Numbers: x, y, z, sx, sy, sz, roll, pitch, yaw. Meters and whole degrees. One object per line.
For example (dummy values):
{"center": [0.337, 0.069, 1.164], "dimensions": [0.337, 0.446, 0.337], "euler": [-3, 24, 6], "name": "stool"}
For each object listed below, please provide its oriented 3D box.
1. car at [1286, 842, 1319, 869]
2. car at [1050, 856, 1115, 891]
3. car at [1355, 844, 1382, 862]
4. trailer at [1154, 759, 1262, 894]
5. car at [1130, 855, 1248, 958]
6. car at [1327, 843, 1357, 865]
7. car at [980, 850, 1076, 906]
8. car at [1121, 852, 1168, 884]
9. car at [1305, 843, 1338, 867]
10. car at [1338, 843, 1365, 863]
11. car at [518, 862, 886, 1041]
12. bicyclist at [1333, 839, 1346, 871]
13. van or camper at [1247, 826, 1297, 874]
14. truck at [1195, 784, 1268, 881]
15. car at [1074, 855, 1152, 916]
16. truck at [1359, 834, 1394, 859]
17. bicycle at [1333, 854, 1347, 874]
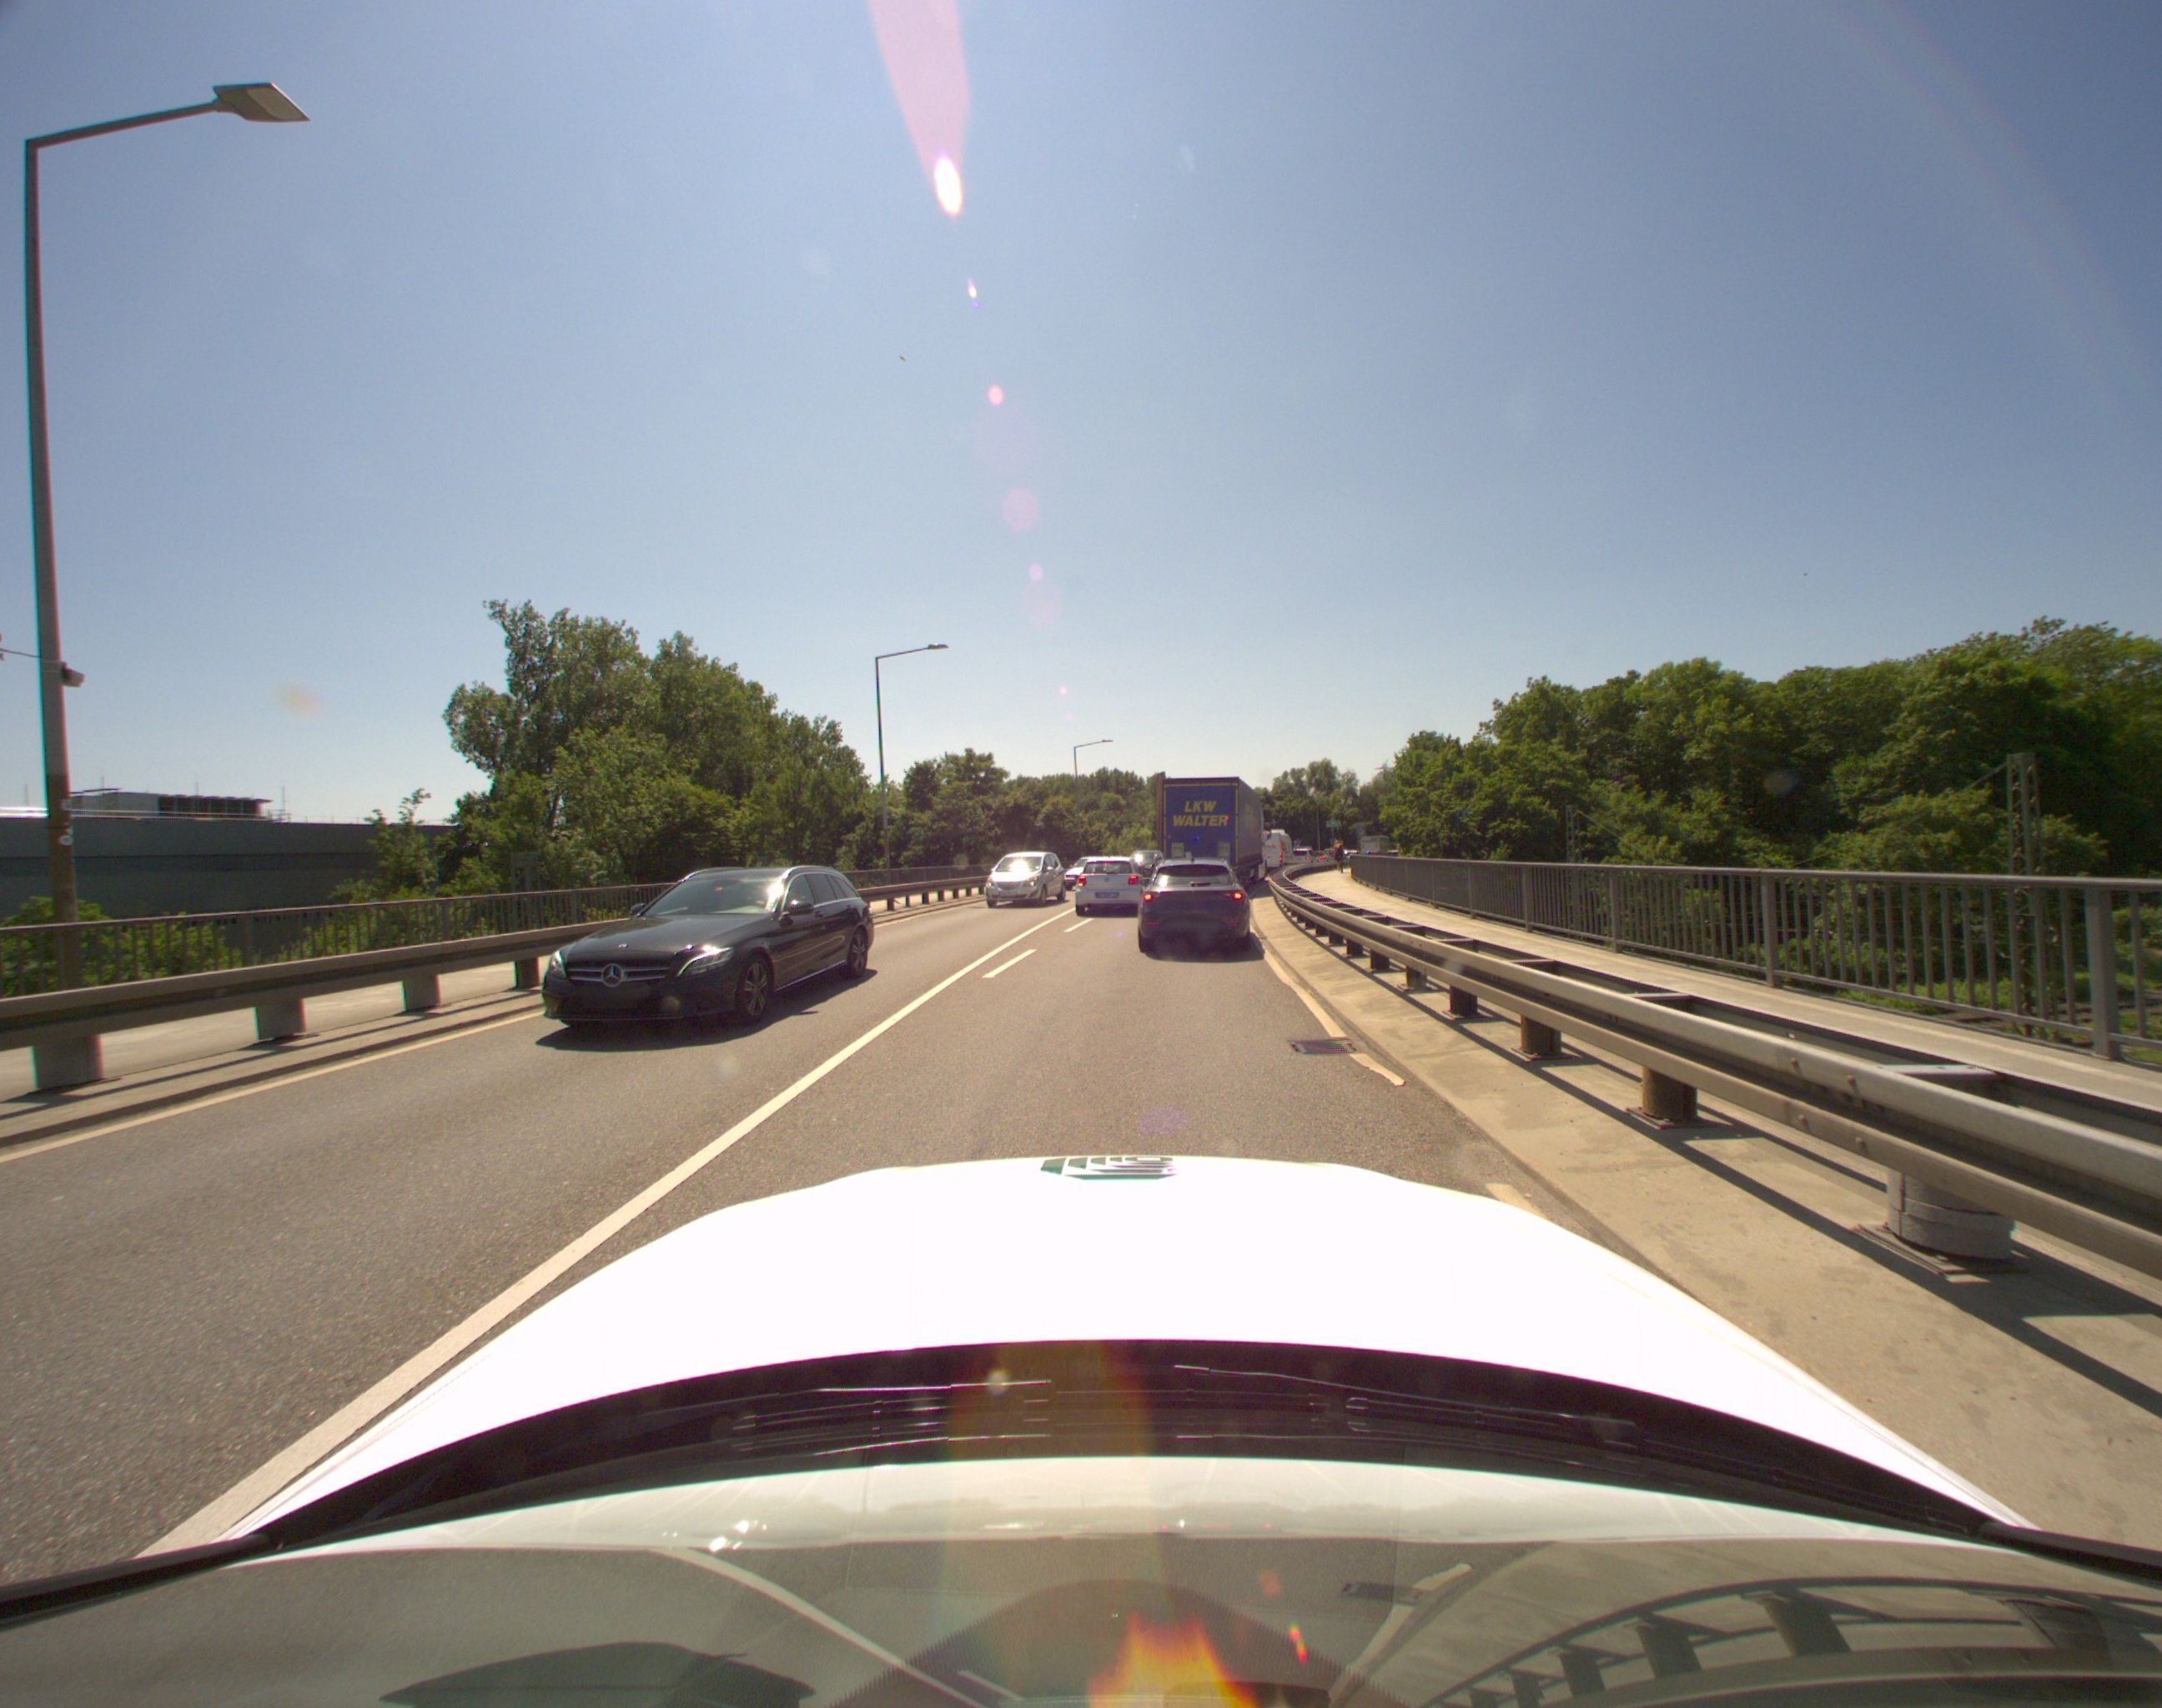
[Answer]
{"center": [15.945, 0.106, 58.494], "dimensions": [1.705, 1.844, 4.023], "euler": [-1, 1, 24], "name": "car"}
{"center": [0.139, 0.799, 34.908], "dimensions": [1.684, 1.376, 4.017], "euler": [-2, 0, 16], "name": "car"}
{"center": [29.724, -0.107, 84.120], "dimensions": [1.669, 1.760, 4.025], "euler": [-1, -1, 33], "name": "car"}
{"center": [5.521, -0.940, 33.080], "dimensions": [2.883, 4.418, 12.484], "euler": [0, 0, 15], "name": "trailer"}
{"center": [1.901, 0.762, 13.706], "dimensions": [1.667, 1.456, 3.970], "euler": [-1, 0, 10], "name": "car"}
{"center": [23.211, -0.037, 72.396], "dimensions": [1.704, 1.844, 4.025], "euler": [-1, 0, 29], "name": "car"}
{"center": [-1.544, 0.686, 25.224], "dimensions": [1.724, 1.580, 4.193], "euler": [-1, 0, 14], "name": "car"}
{"center": [3.555, 0.714, 44.739], "dimensions": [1.788, 1.641, 4.317], "euler": [-1, 0, 15], "name": "car"}
{"center": [19.170, 0.054, 64.763], "dimensions": [1.704, 1.802, 4.024], "euler": [-1, 0, 28], "name": "car"}
{"center": [25.979, -0.121, 78.053], "dimensions": [1.704, 1.844, 4.025], "euler": [-1, 0, 29], "name": "car"}
{"center": [-3.729, 0.845, 9.055], "dimensions": [1.764, 1.438, 4.396], "euler": [-1, 0, 4], "name": "car"}
{"center": [13.985, 0.061, 44.027], "dimensions": [0.573, 1.683, 0.733], "euler": [-4, -1, 19], "name": "bicyclist"}
{"center": [11.954, -0.241, 50.640], "dimensions": [2.136, 2.815, 6.420], "euler": [-1, 0, 20], "name": "van or camper"}
{"center": [7.600, -1.002, 40.575], "dimensions": [2.882, 4.418, 6.584], "euler": [0, 0, 16], "name": "truck"}
{"center": [0.942, 0.766, 21.632], "dimensions": [1.668, 1.411, 3.984], "euler": [0, 0, 8], "name": "car"}
{"center": [34.935, -0.855, 96.141], "dimensions": [2.312, 2.873, 5.979], "euler": [-1, 0, 35], "name": "truck"}
{"center": [14.030, 0.517, 44.061], "dimensions": [0.577, 1.035, 1.492], "euler": [-4, -1, 20], "name": "bicycle"}
